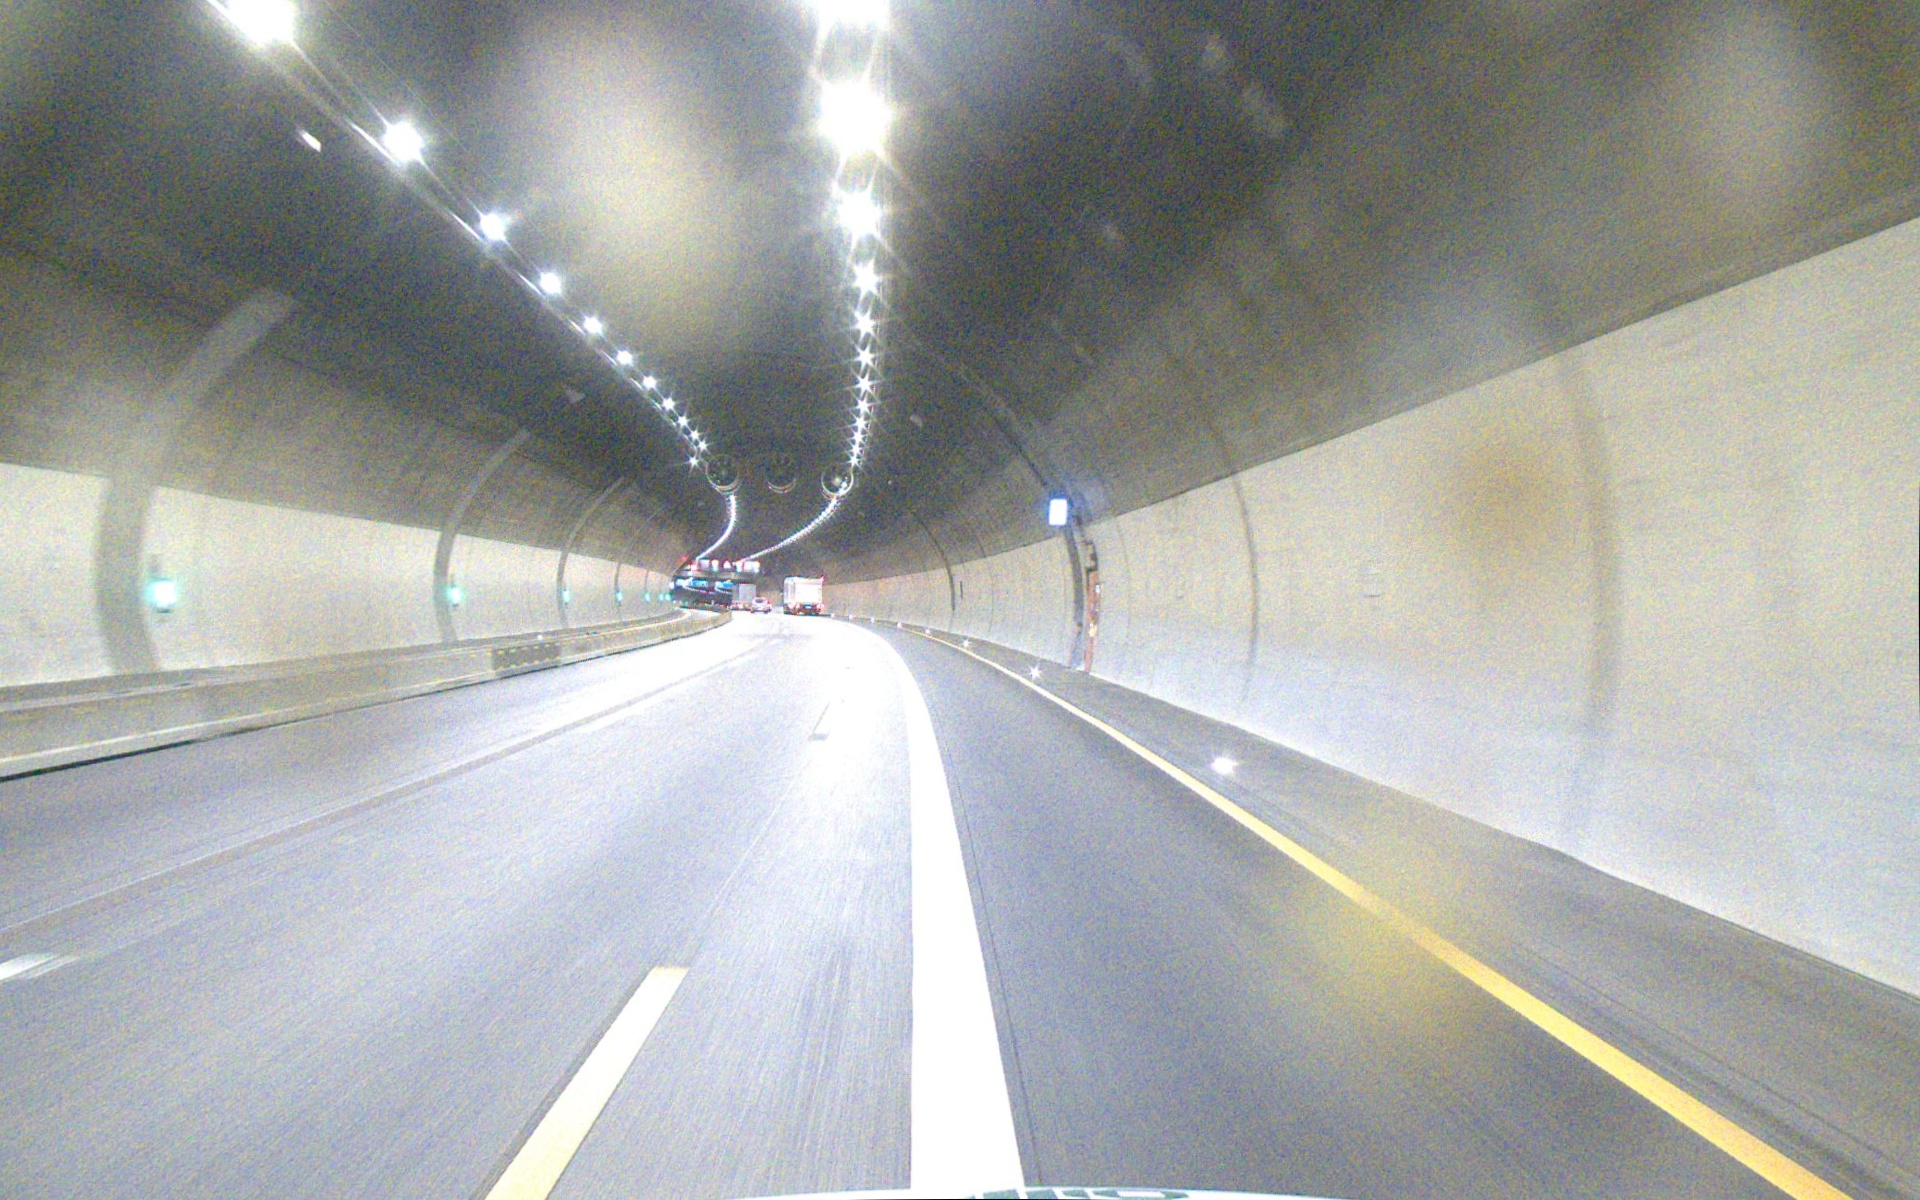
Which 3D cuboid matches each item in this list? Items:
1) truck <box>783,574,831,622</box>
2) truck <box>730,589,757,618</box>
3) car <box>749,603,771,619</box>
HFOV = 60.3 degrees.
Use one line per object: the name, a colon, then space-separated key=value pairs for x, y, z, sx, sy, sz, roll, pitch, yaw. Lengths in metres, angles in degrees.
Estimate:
truck: x=-14.669 y=-0.212 z=157.701 sx=3.412 sy=4.392 sz=10.921 roll=1 pitch=0 yaw=-11
truck: x=-33.434 y=0.532 z=254.728 sx=3.412 sy=4.392 sz=10.921 roll=1 pitch=0 yaw=-11
car: x=-20.963 y=1.159 z=173.128 sx=1.958 sy=1.609 sz=3.988 roll=2 pitch=0 yaw=-12
